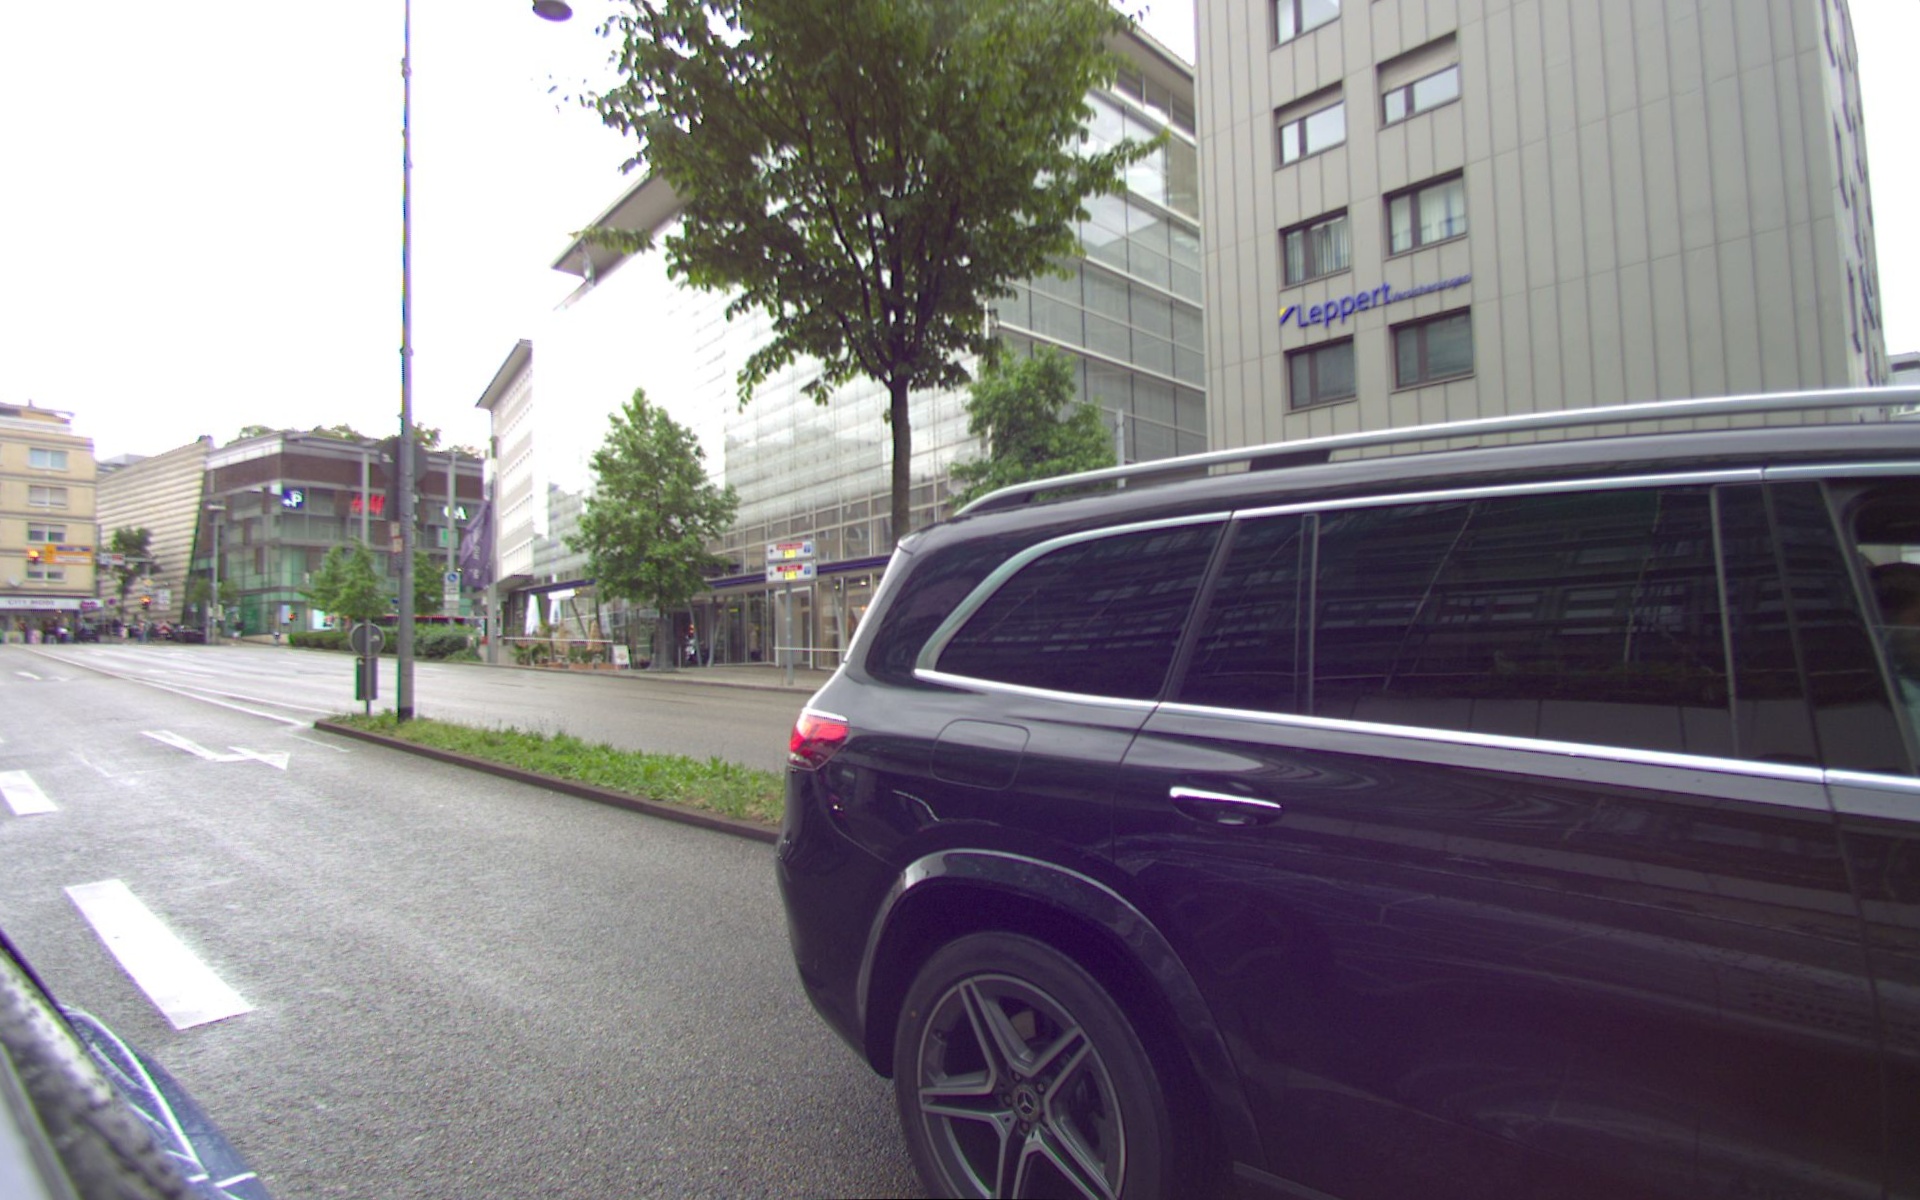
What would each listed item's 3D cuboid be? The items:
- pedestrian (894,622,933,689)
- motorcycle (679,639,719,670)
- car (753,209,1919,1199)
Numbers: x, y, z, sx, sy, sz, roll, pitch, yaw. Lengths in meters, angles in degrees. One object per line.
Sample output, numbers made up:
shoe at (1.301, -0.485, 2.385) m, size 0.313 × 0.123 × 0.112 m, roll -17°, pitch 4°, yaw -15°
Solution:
pedestrian at (-1.196, 1.410, 26.014) m, size 0.626 × 1.649 × 0.791 m, roll 0°, pitch 0°, yaw -41°
motorcycle at (-11.832, 2.469, 45.990) m, size 0.620 × 1.336 × 1.685 m, roll -1°, pitch -3°, yaw 41°
car at (1.942, 0.471, 1.771) m, size 5.072 × 1.884 × 1.891 m, roll 0°, pitch 0°, yaw 42°
